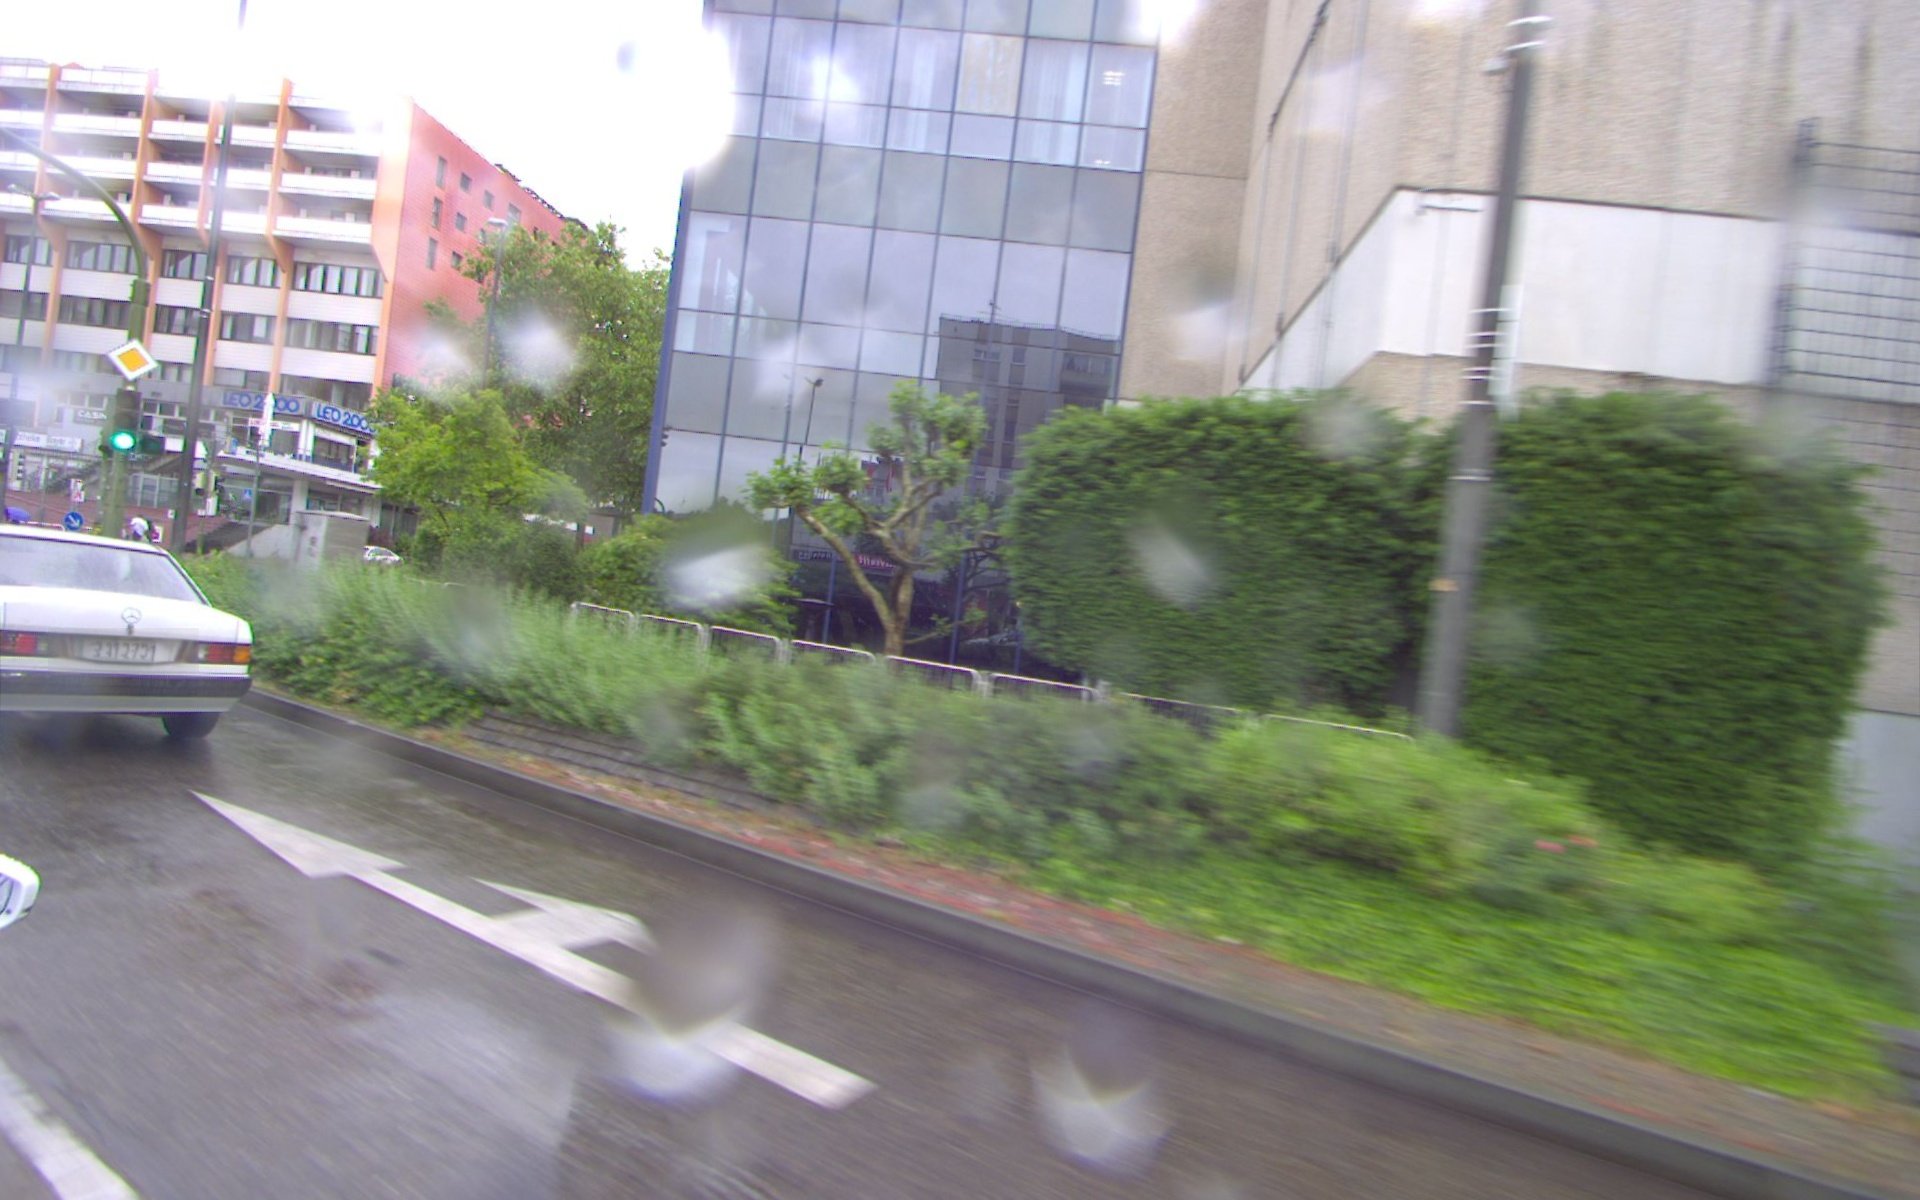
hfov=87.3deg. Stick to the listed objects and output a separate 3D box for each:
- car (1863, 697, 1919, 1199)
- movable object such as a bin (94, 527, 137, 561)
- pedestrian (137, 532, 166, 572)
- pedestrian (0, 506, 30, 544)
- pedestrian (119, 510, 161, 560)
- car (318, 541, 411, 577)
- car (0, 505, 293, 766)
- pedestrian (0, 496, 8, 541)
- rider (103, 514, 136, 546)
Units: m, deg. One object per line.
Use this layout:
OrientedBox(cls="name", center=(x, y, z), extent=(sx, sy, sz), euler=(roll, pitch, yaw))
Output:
OrientedBox(cls="car", center=(3.850, 1.190, 0.791), extent=(4.261, 1.639, 1.906), euler=(6, -2, 29))
OrientedBox(cls="movable object such as a bin", center=(-38.228, -2.528, 45.543), extent=(1.434, 1.347, 1.129), euler=(2, -4, 38))
OrientedBox(cls="pedestrian", center=(-36.729, -2.194, 45.680), extent=(0.919, 1.689, 0.792), euler=(6, 0, 44))
OrientedBox(cls="pedestrian", center=(-36.185, -2.861, 38.532), extent=(0.647, 1.362, 0.706), euler=(5, 0, 42))
OrientedBox(cls="pedestrian", center=(-30.900, -2.453, 37.904), extent=(1.111, 1.711, 0.828), euler=(6, 0, 36))
OrientedBox(cls="car", center=(-30.687, -2.094, 52.024), extent=(1.778, 1.423, 4.791), euler=(5, -1, 1))
OrientedBox(cls="car", center=(-6.829, 0.114, 7.291), extent=(4.199, 1.464, 1.637), euler=(5, -3, 32))
OrientedBox(cls="pedestrian", center=(-36.022, -3.076, 37.422), extent=(0.647, 1.626, 0.706), euler=(6, -1, 43))
OrientedBox(cls="rider", center=(-38.094, -3.165, 45.600), extent=(1.074, 1.302, 0.921), euler=(7, 3, 38))
